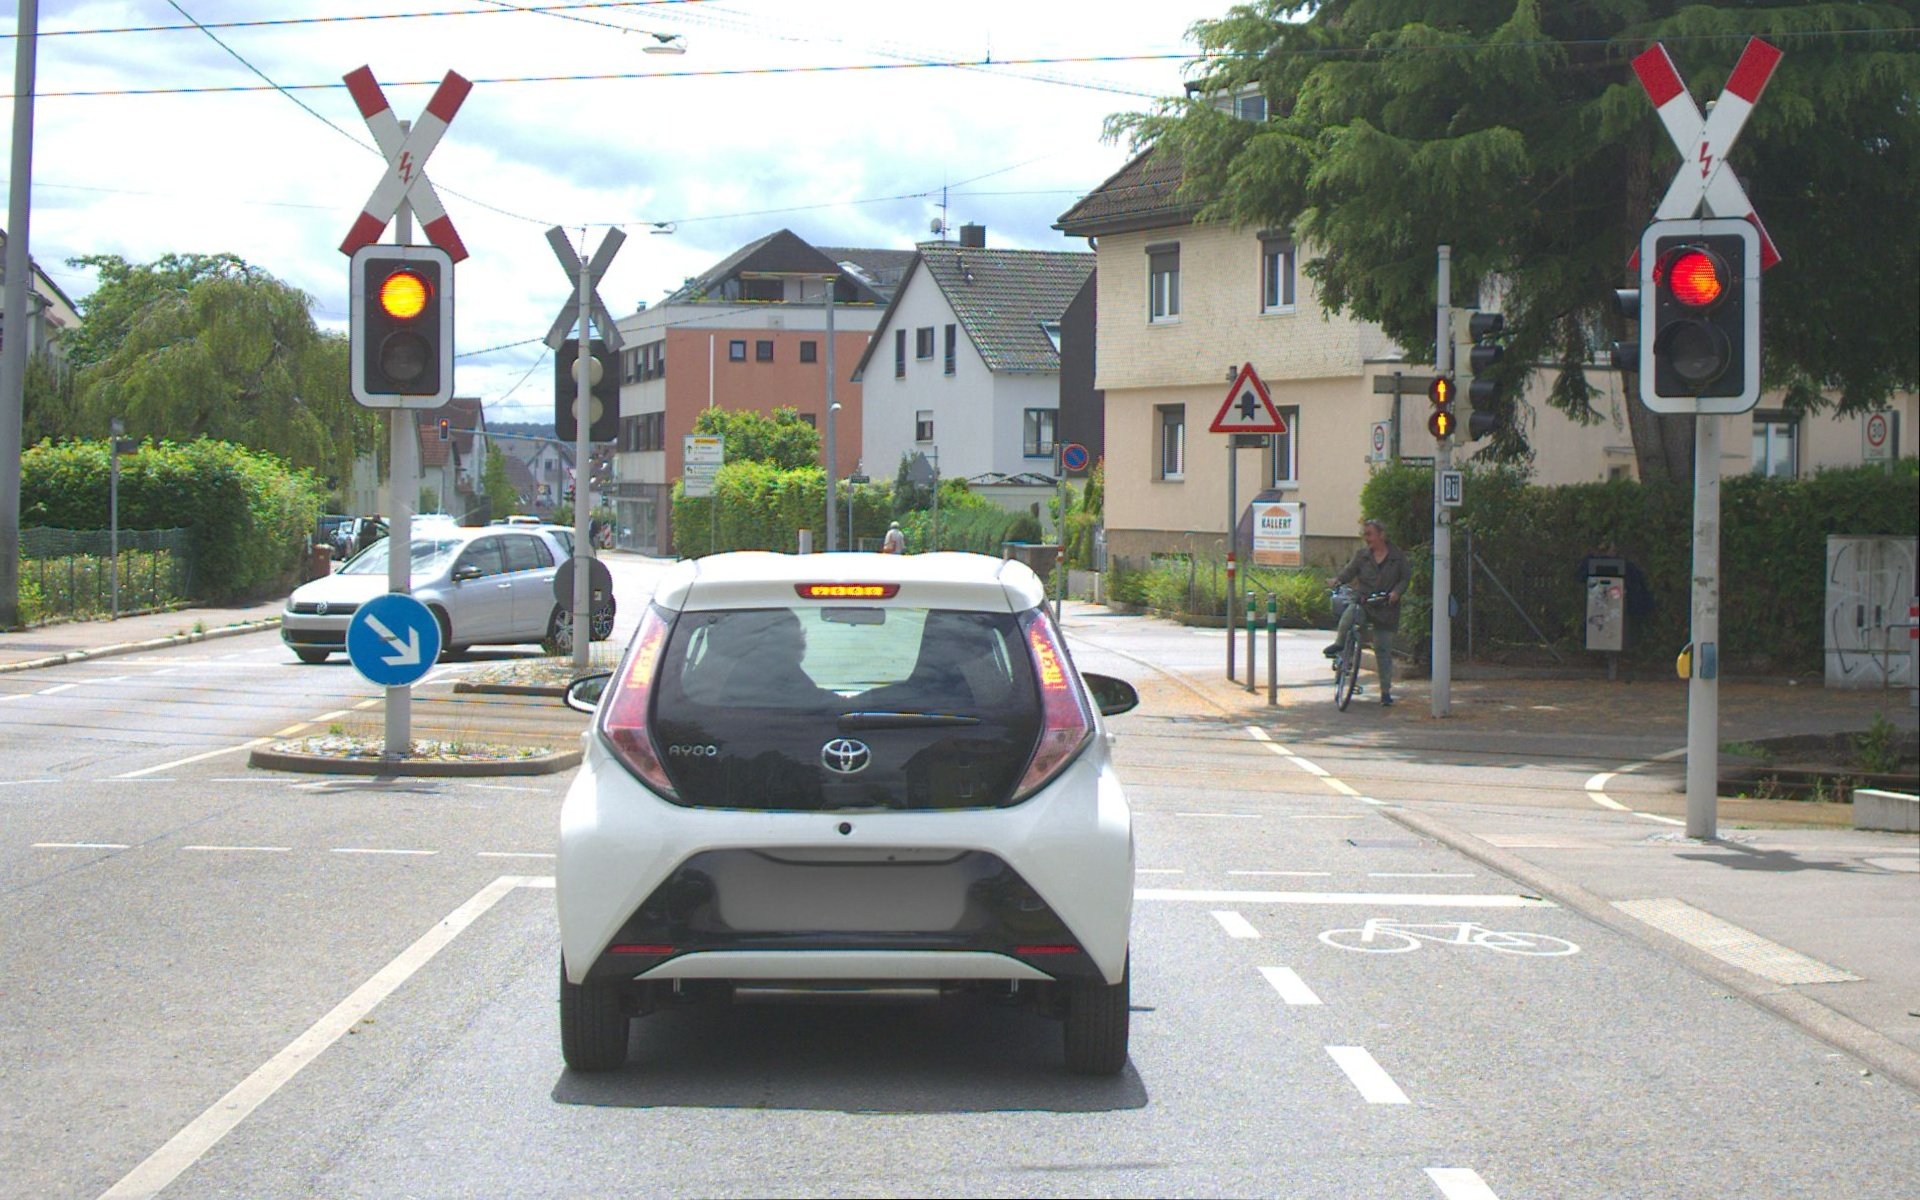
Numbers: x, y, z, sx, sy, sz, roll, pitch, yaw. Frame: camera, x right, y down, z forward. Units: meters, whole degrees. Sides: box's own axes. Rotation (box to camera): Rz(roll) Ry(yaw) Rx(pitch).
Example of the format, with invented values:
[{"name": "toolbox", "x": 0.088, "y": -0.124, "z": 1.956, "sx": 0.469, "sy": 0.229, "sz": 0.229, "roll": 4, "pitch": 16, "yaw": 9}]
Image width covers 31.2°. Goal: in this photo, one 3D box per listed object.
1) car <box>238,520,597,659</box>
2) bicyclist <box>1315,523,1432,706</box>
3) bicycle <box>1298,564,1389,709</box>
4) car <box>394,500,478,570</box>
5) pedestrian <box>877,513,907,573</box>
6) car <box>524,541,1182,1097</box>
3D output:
[{"name": "car", "x": -6.059, "y": -0.131, "z": 38.834, "sx": 1.908, "sy": 1.436, "sz": 4.092, "roll": 2, "pitch": 1, "yaw": 28}, {"name": "bicyclist", "x": 3.674, "y": 0.117, "z": 30.572, "sx": 0.840, "sy": 1.548, "sz": 0.756, "roll": -2, "pitch": 4, "yaw": -6}, {"name": "bicycle", "x": 3.412, "y": 0.309, "z": 30.659, "sx": 0.457, "sy": 1.168, "sz": 1.480, "roll": -2, "pitch": 4, "yaw": -6}, {"name": "car", "x": -13.646, "y": -1.702, "z": 89.764, "sx": 1.993, "sy": 1.713, "sz": 4.001, "roll": 2, "pitch": 1, "yaw": -7}, {"name": "pedestrian", "x": -1.812, "y": -1.529, "z": 91.714, "sx": 0.726, "sy": 1.571, "sz": 0.803, "roll": 2, "pitch": 1, "yaw": -1}, {"name": "car", "x": -0.414, "y": 0.561, "z": 11.047, "sx": 1.721, "sy": 1.437, "sz": 3.709, "roll": 2, "pitch": 1, "yaw": -4}]
